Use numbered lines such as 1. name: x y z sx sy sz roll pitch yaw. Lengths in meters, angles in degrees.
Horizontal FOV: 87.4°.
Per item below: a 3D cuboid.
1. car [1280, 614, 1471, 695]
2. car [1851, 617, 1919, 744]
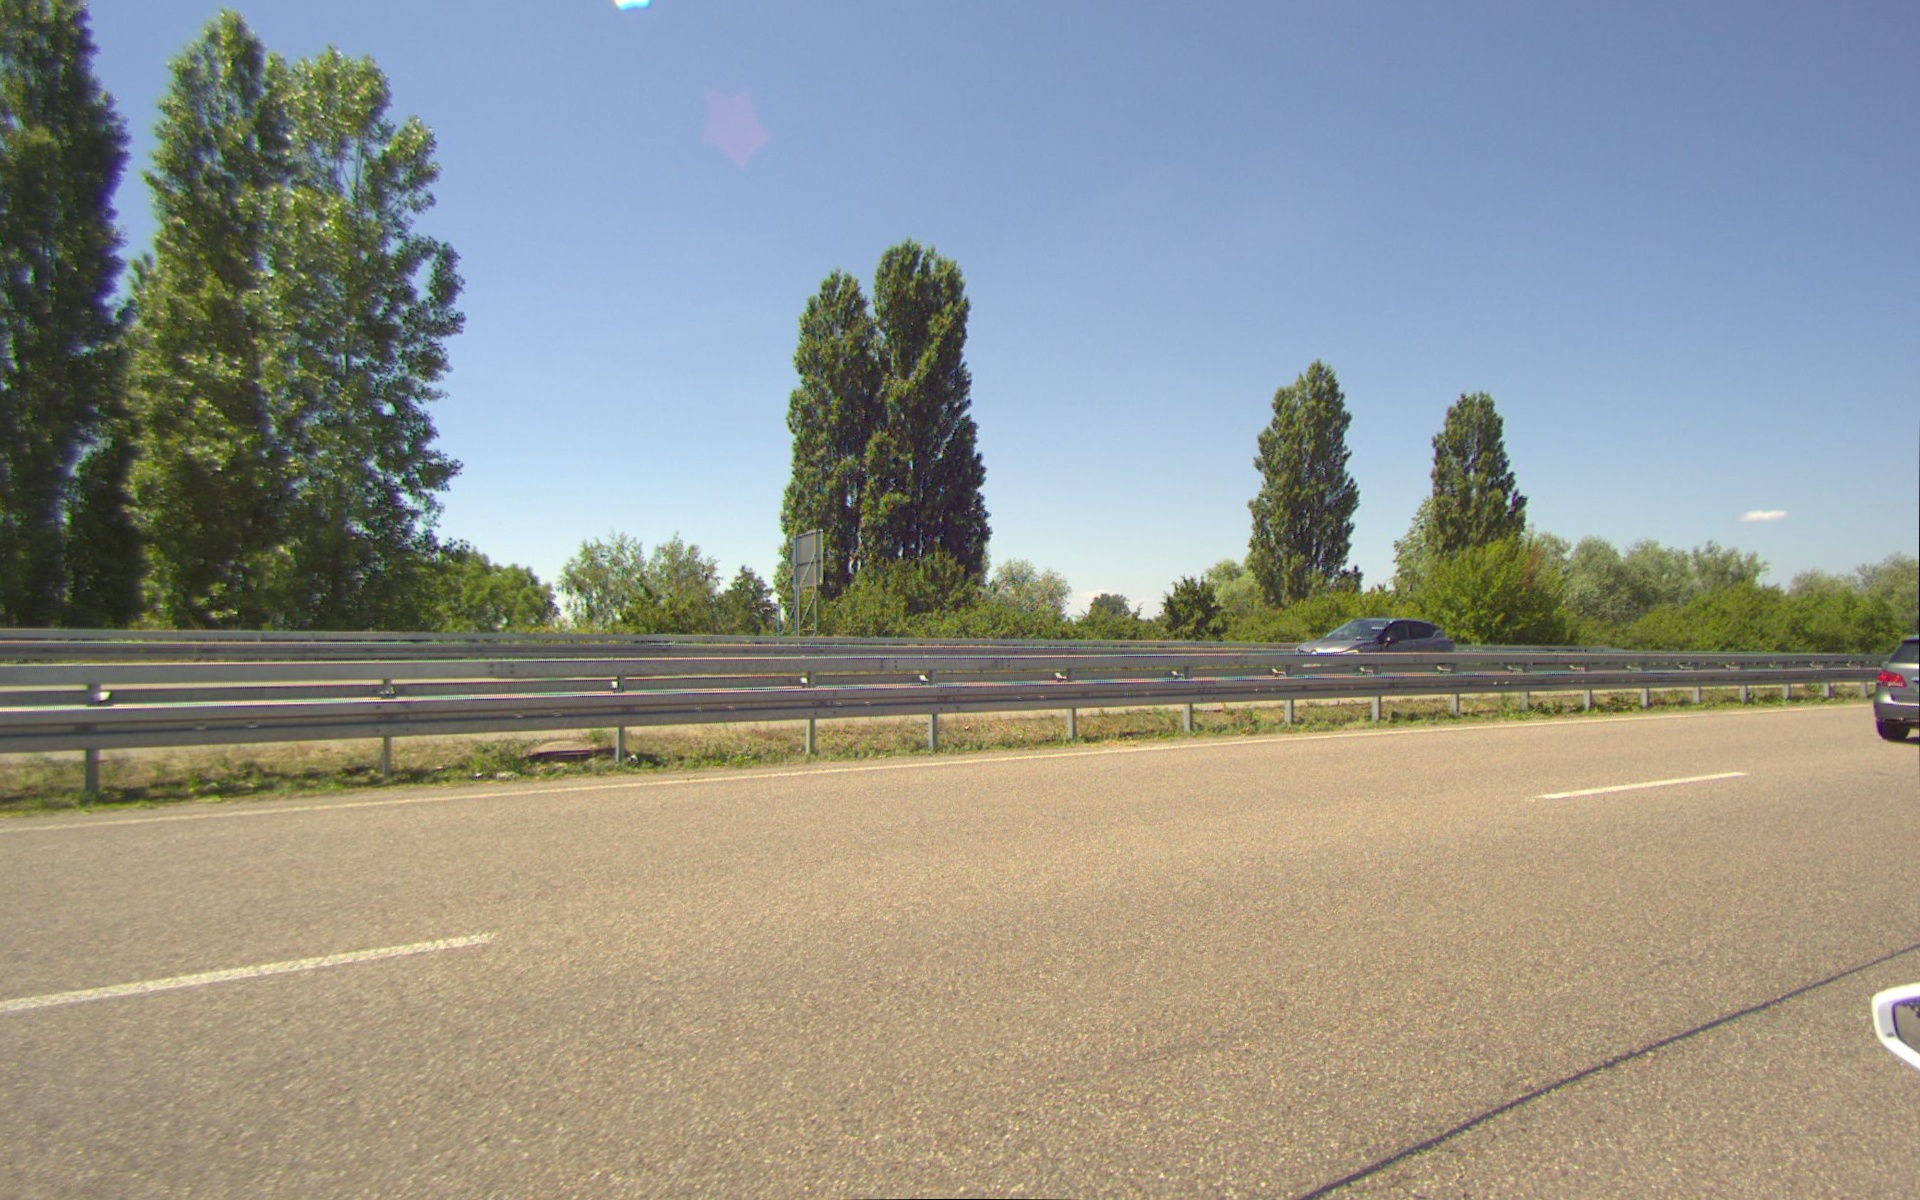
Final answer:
1. car: 9.318 1.203 22.477 4.139 1.669 1.817 2 -2 -30
2. car: 14.907 1.111 14.344 4.496 1.690 1.786 1 0 -27
